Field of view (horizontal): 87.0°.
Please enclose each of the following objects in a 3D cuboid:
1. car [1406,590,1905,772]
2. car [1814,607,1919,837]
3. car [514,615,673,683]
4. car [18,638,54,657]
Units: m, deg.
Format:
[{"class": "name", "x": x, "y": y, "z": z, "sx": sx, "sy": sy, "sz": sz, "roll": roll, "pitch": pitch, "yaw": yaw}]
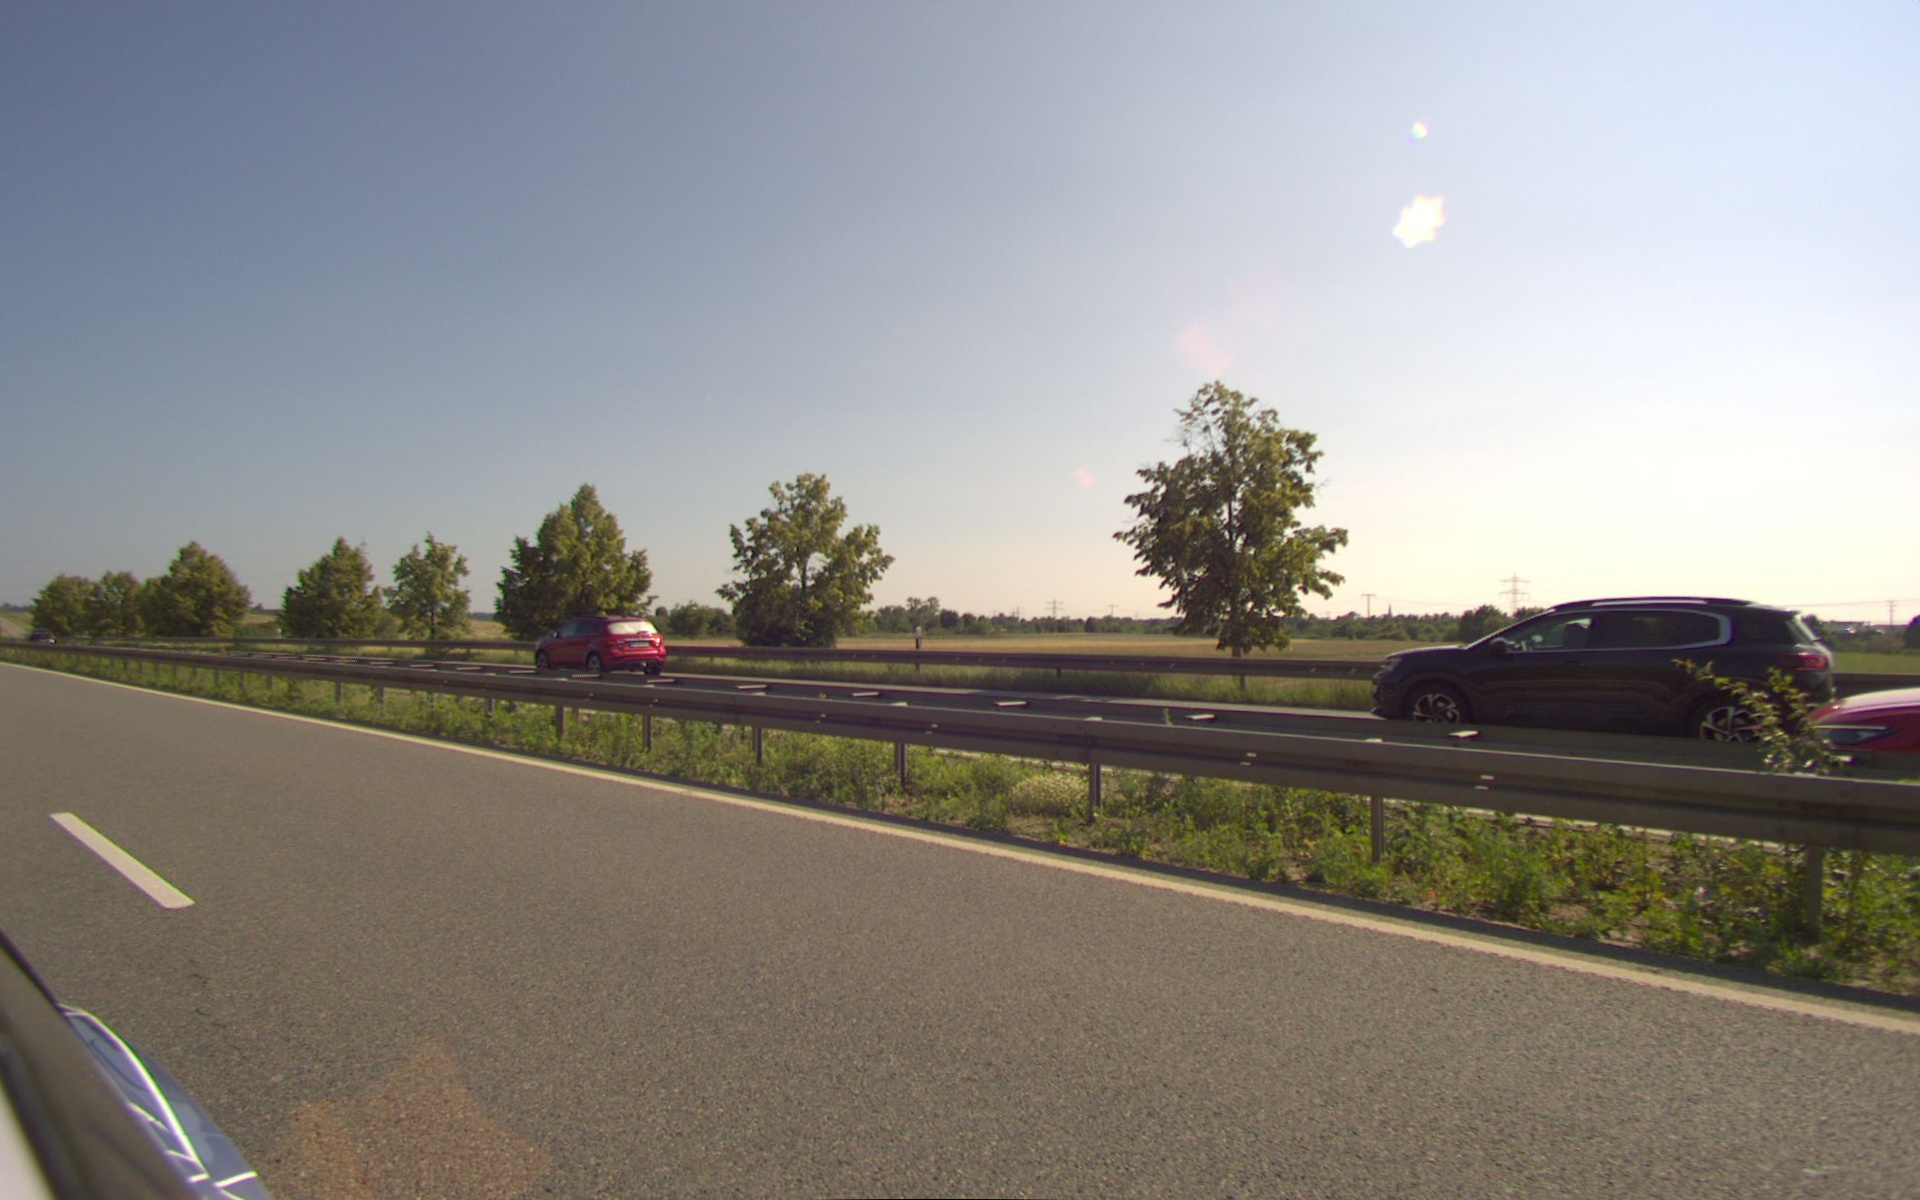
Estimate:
[{"class": "car", "x": 7.346, "y": 0.767, "z": 11.034, "sx": 4.219, "sy": 1.608, "sz": 1.708, "roll": -1, "pitch": -2, "yaw": 41}, {"class": "car", "x": 8.408, "y": 0.776, "z": 5.985, "sx": 5.093, "sy": 1.504, "sz": 1.856, "roll": -1, "pitch": -2, "yaw": 41}, {"class": "car", "x": -9.611, "y": 1.223, "z": 26.355, "sx": 4.771, "sy": 1.605, "sz": 1.824, "roll": -2, "pitch": -1, "yaw": 41}, {"class": "car", "x": -79.200, "y": 4.035, "z": 86.728, "sx": 4.453, "sy": 1.553, "sz": 1.793, "roll": -2, "pitch": -3, "yaw": 42}]
